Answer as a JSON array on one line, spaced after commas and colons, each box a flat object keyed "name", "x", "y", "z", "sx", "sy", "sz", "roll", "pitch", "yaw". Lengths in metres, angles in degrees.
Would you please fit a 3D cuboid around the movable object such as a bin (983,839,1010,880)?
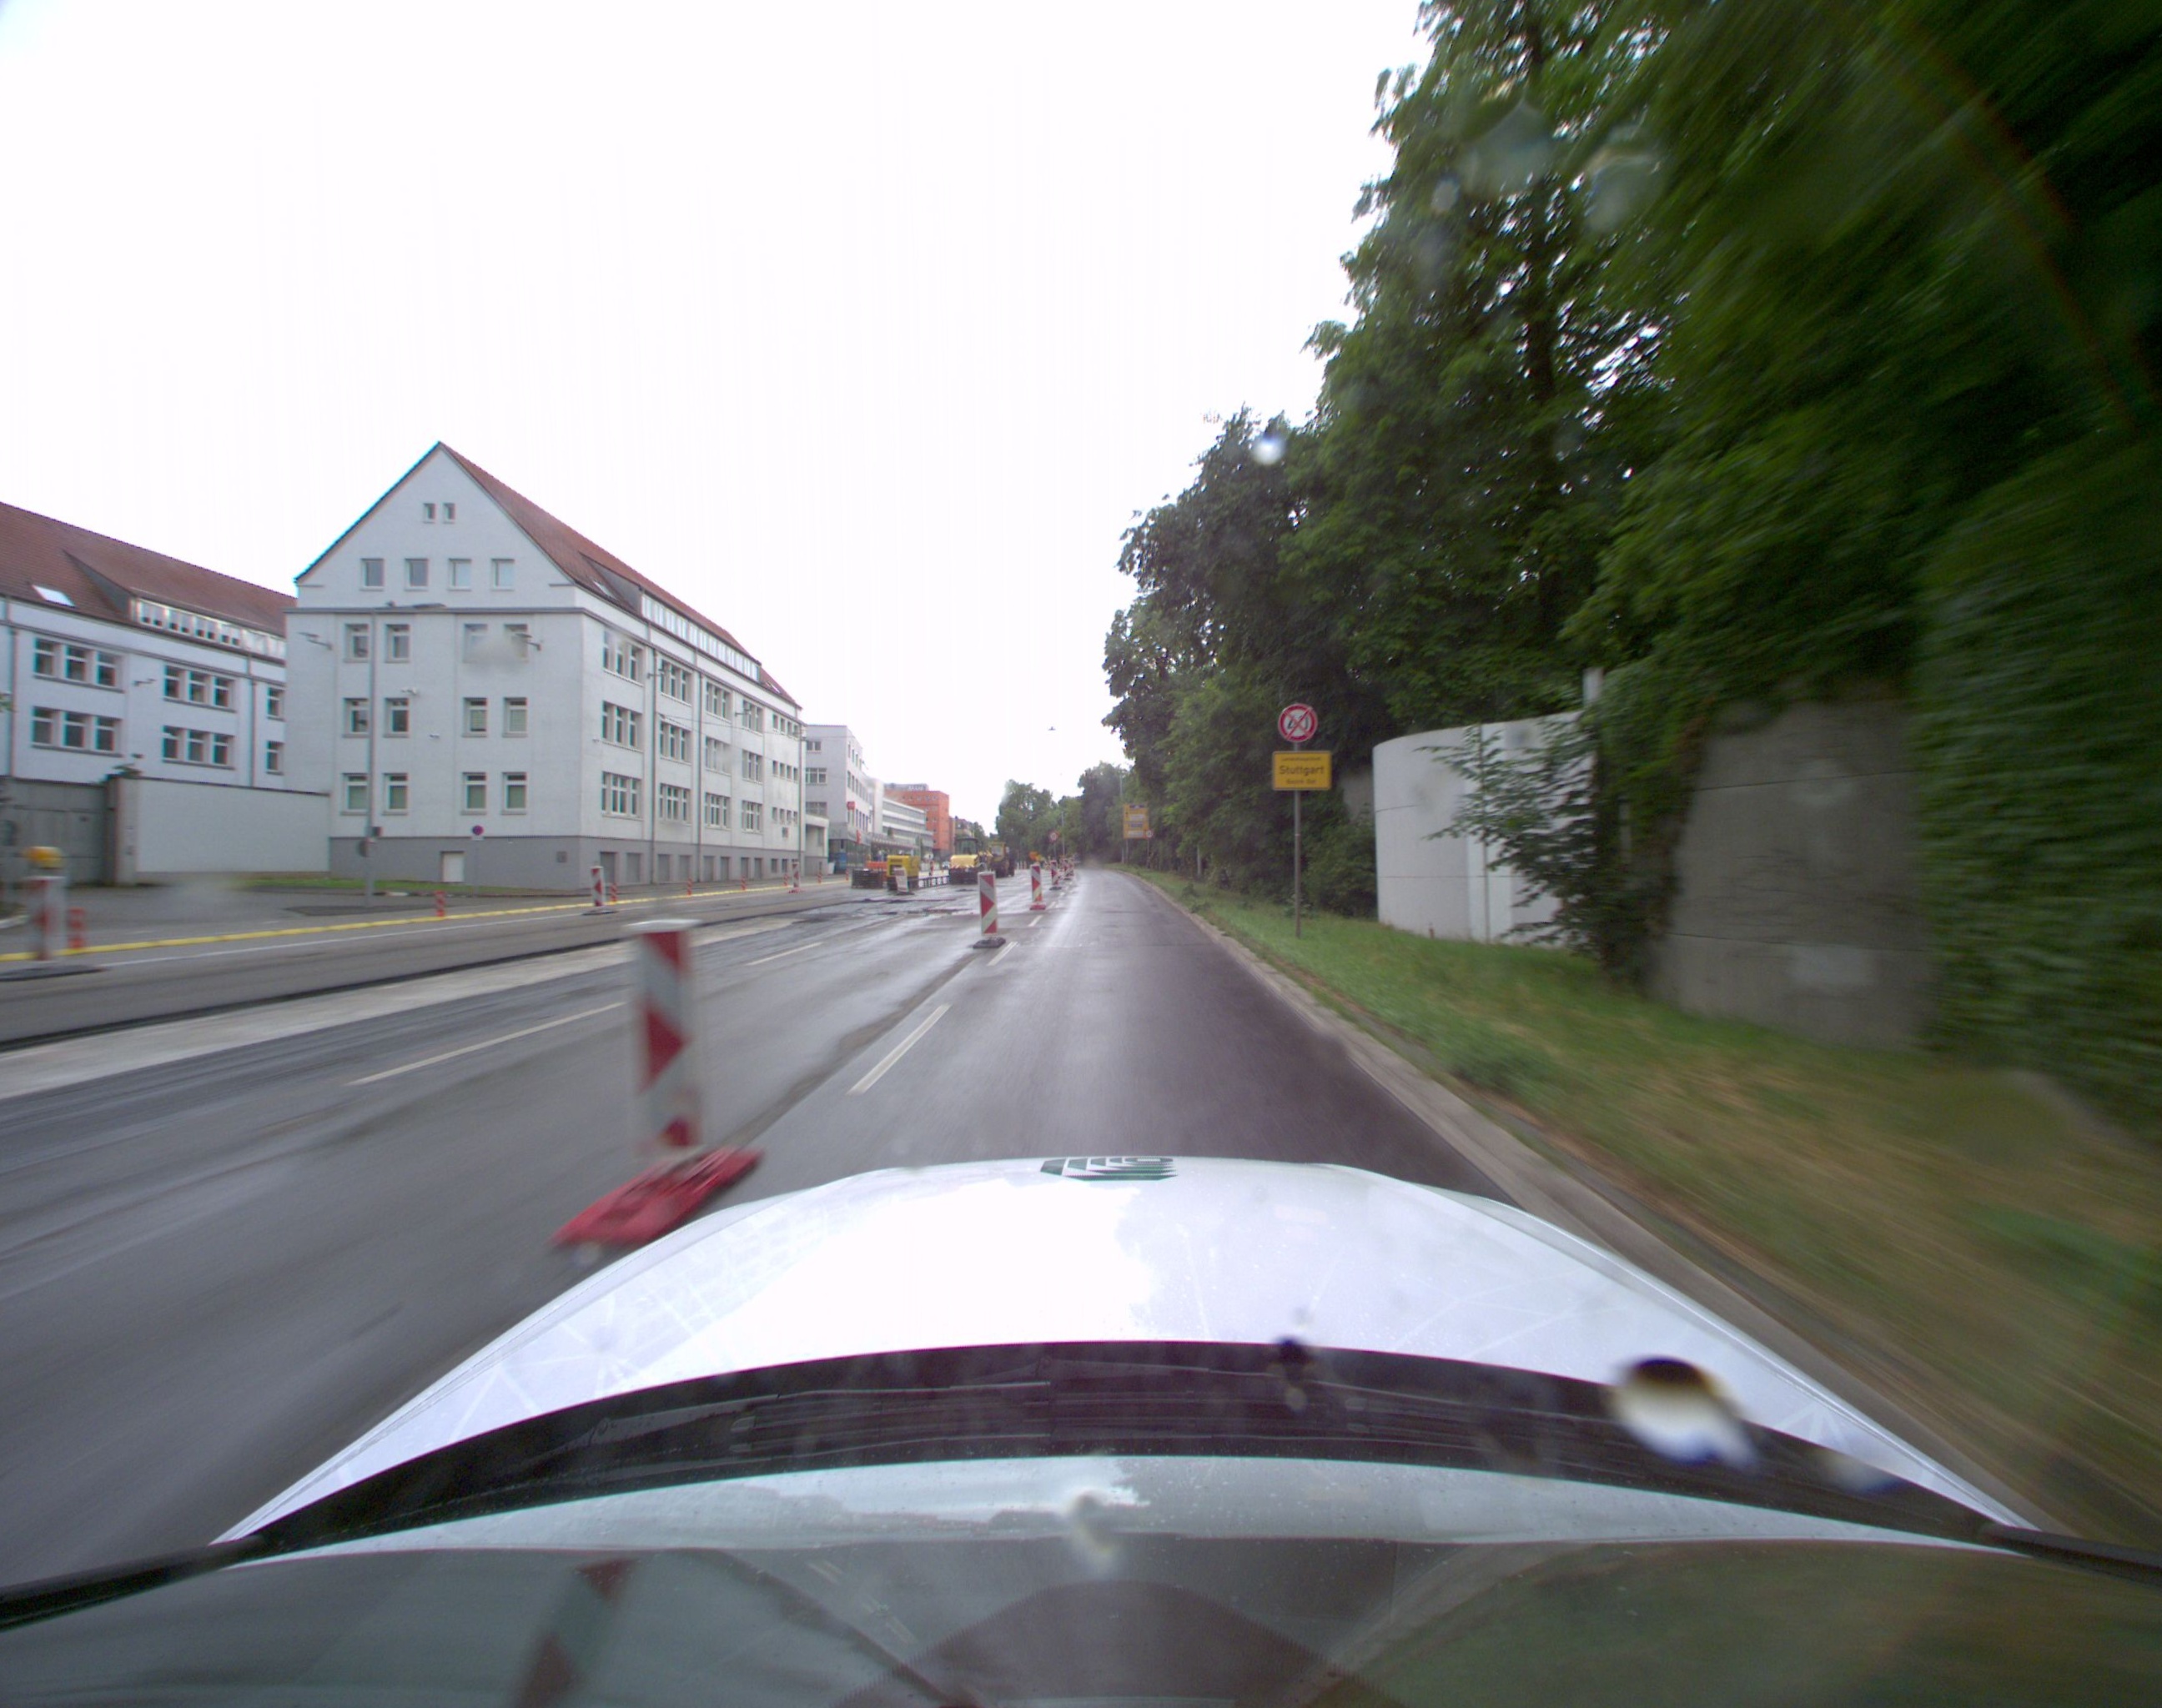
[{"name": "movable object such as a bin", "x": -6.407, "y": 0.400, "z": 62.063, "sx": 1.461, "sy": 3.008, "sz": 3.724, "roll": -2, "pitch": 0, "yaw": 0}]

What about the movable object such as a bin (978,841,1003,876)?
[{"name": "movable object such as a bin", "x": -6.450, "y": 0.306, "z": 58.188, "sx": 1.407, "sy": 2.401, "sz": 2.404, "roll": -2, "pitch": 0, "yaw": -1}]

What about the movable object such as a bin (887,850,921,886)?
[{"name": "movable object such as a bin", "x": -8.487, "y": 0.670, "z": 39.161, "sx": 1.079, "sy": 1.644, "sz": 2.439, "roll": 0, "pitch": -1, "yaw": 1}]

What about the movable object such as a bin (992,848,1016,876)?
[{"name": "movable object such as a bin", "x": -6.273, "y": 0.614, "z": 66.578, "sx": 1.711, "sy": 2.150, "sz": 3.347, "roll": -2, "pitch": 0, "yaw": -2}]

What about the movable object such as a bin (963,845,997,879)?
[{"name": "movable object such as a bin", "x": -6.524, "y": 0.479, "z": 53.015, "sx": 1.357, "sy": 2.090, "sz": 5.031, "roll": -1, "pitch": 0, "yaw": 2}]

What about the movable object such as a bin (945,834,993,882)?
[{"name": "movable object such as a bin", "x": -6.489, "y": 0.217, "z": 47.689, "sx": 1.895, "sy": 2.609, "sz": 5.385, "roll": -1, "pitch": 0, "yaw": 2}]
